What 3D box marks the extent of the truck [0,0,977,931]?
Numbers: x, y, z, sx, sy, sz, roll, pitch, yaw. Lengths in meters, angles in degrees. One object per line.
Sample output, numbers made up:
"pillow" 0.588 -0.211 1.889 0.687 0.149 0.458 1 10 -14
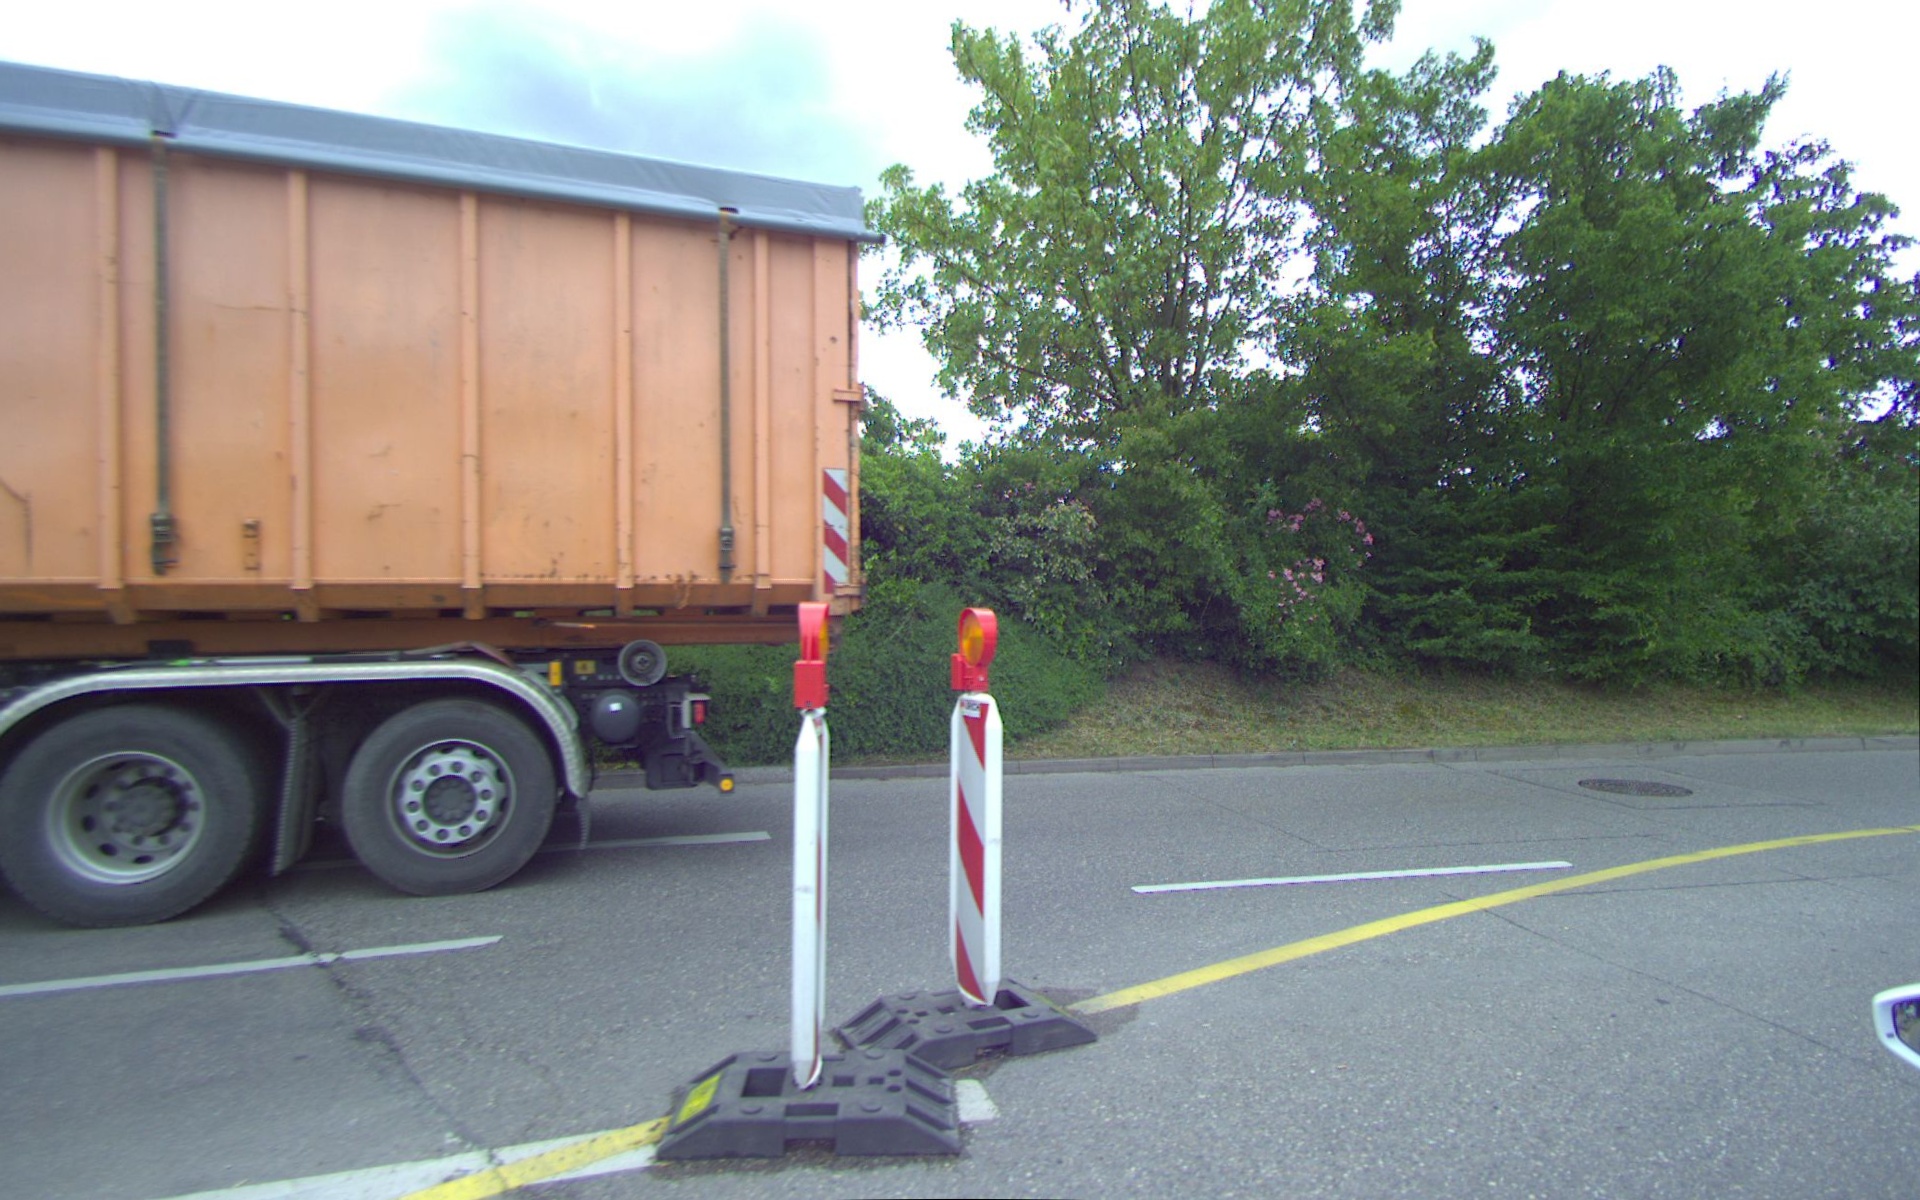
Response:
"truck" -4.940 -0.715 5.618 9.646 4.277 3.106 1 -1 -21
